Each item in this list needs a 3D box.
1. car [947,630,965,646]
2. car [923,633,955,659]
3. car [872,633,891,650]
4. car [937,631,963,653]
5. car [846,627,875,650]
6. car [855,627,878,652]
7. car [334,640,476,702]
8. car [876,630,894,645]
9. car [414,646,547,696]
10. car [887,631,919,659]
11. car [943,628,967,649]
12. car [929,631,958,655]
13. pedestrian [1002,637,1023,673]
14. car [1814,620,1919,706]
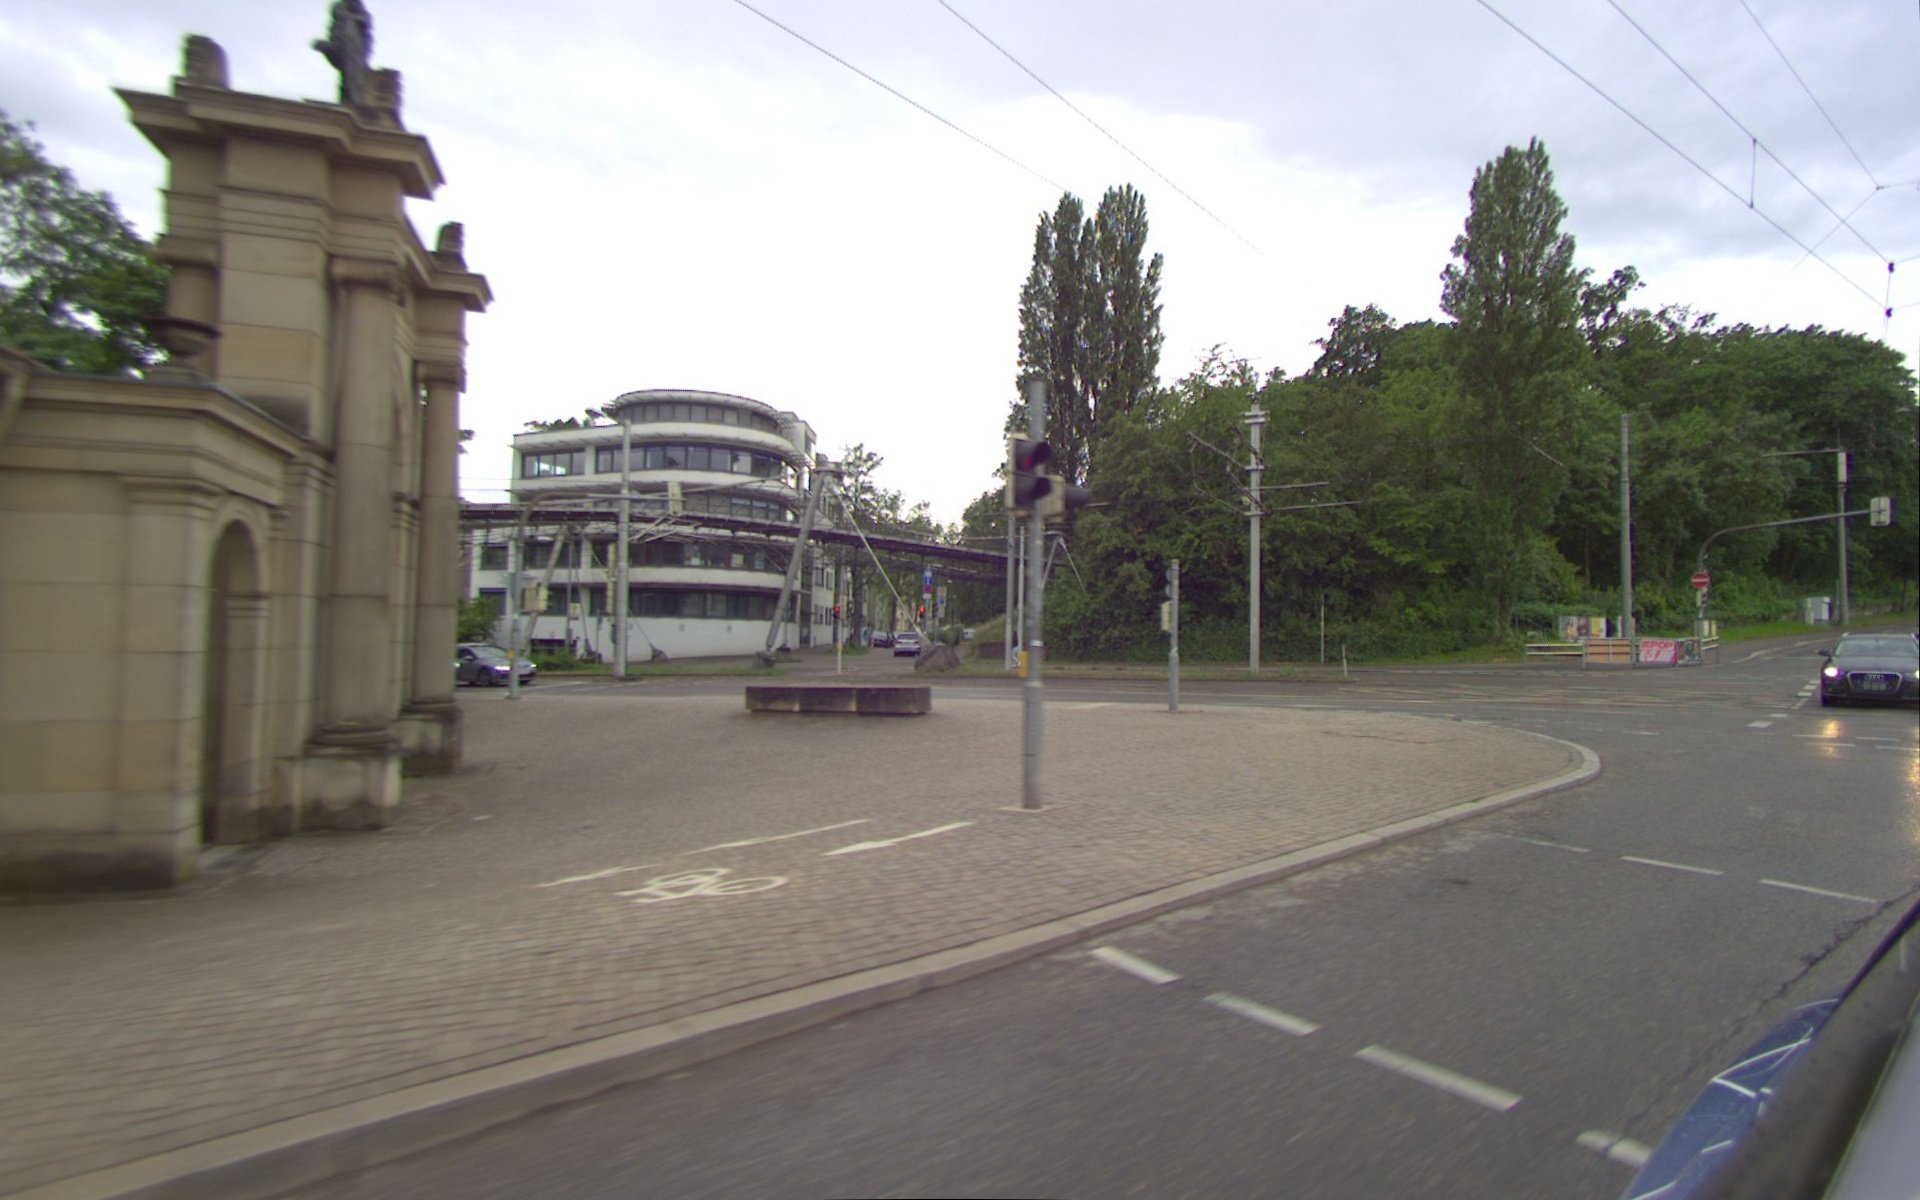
[{"bbox_3d":[-0.430,3.913,104.520,1.704,1.581,3.752,-2,-1,-1],"label":"car"},{"bbox_3d":[-1.386,3.023,67.203,1.707,1.581,3.747,-2,-1,4],"label":"car"},{"bbox_3d":[-7.199,3.779,92.800,1.528,1.413,3.150,-2,-1,-1],"label":"car"},{"bbox_3d":[-0.787,3.283,79.407,1.707,1.581,3.747,-2,-1,4],"label":"car"},{"bbox_3d":[-7.181,2.771,73.256,1.604,1.581,3.376,-2,-1,2],"label":"car"},{"bbox_3d":[-7.863,3.266,85.075,1.603,2.003,3.379,-2,-2,-1],"label":"car"},{"bbox_3d":[-18.067,2.269,32.934,4.220,1.756,1.982,-2,1,27],"label":"car"},{"bbox_3d":[-7.285,3.610,98.238,1.528,1.413,3.150,-2,-1,-1],"label":"car"},{"bbox_3d":[-16.618,2.430,35.087,4.220,1.473,1.982,-2,1,27],"label":"car"},{"bbox_3d":[-3.432,2.756,61.979,1.604,1.581,3.749,-2,-1,2],"label":"car"},{"bbox_3d":[-0.414,3.185,84.344,1.707,1.581,3.747,-2,-1,4],"label":"car"},{"bbox_3d":[-1.138,3.058,72.594,1.707,1.581,3.747,-2,-1,4],"label":"car"},{"bbox_3d":[2.379,2.477,45.610,0.650,1.575,0.801,-2,-4,32],"label":"pedestrian"},{"bbox_3d":[20.112,1.273,21.604,3.923,1.608,1.857,0,-1,-34],"label":"car"}]
